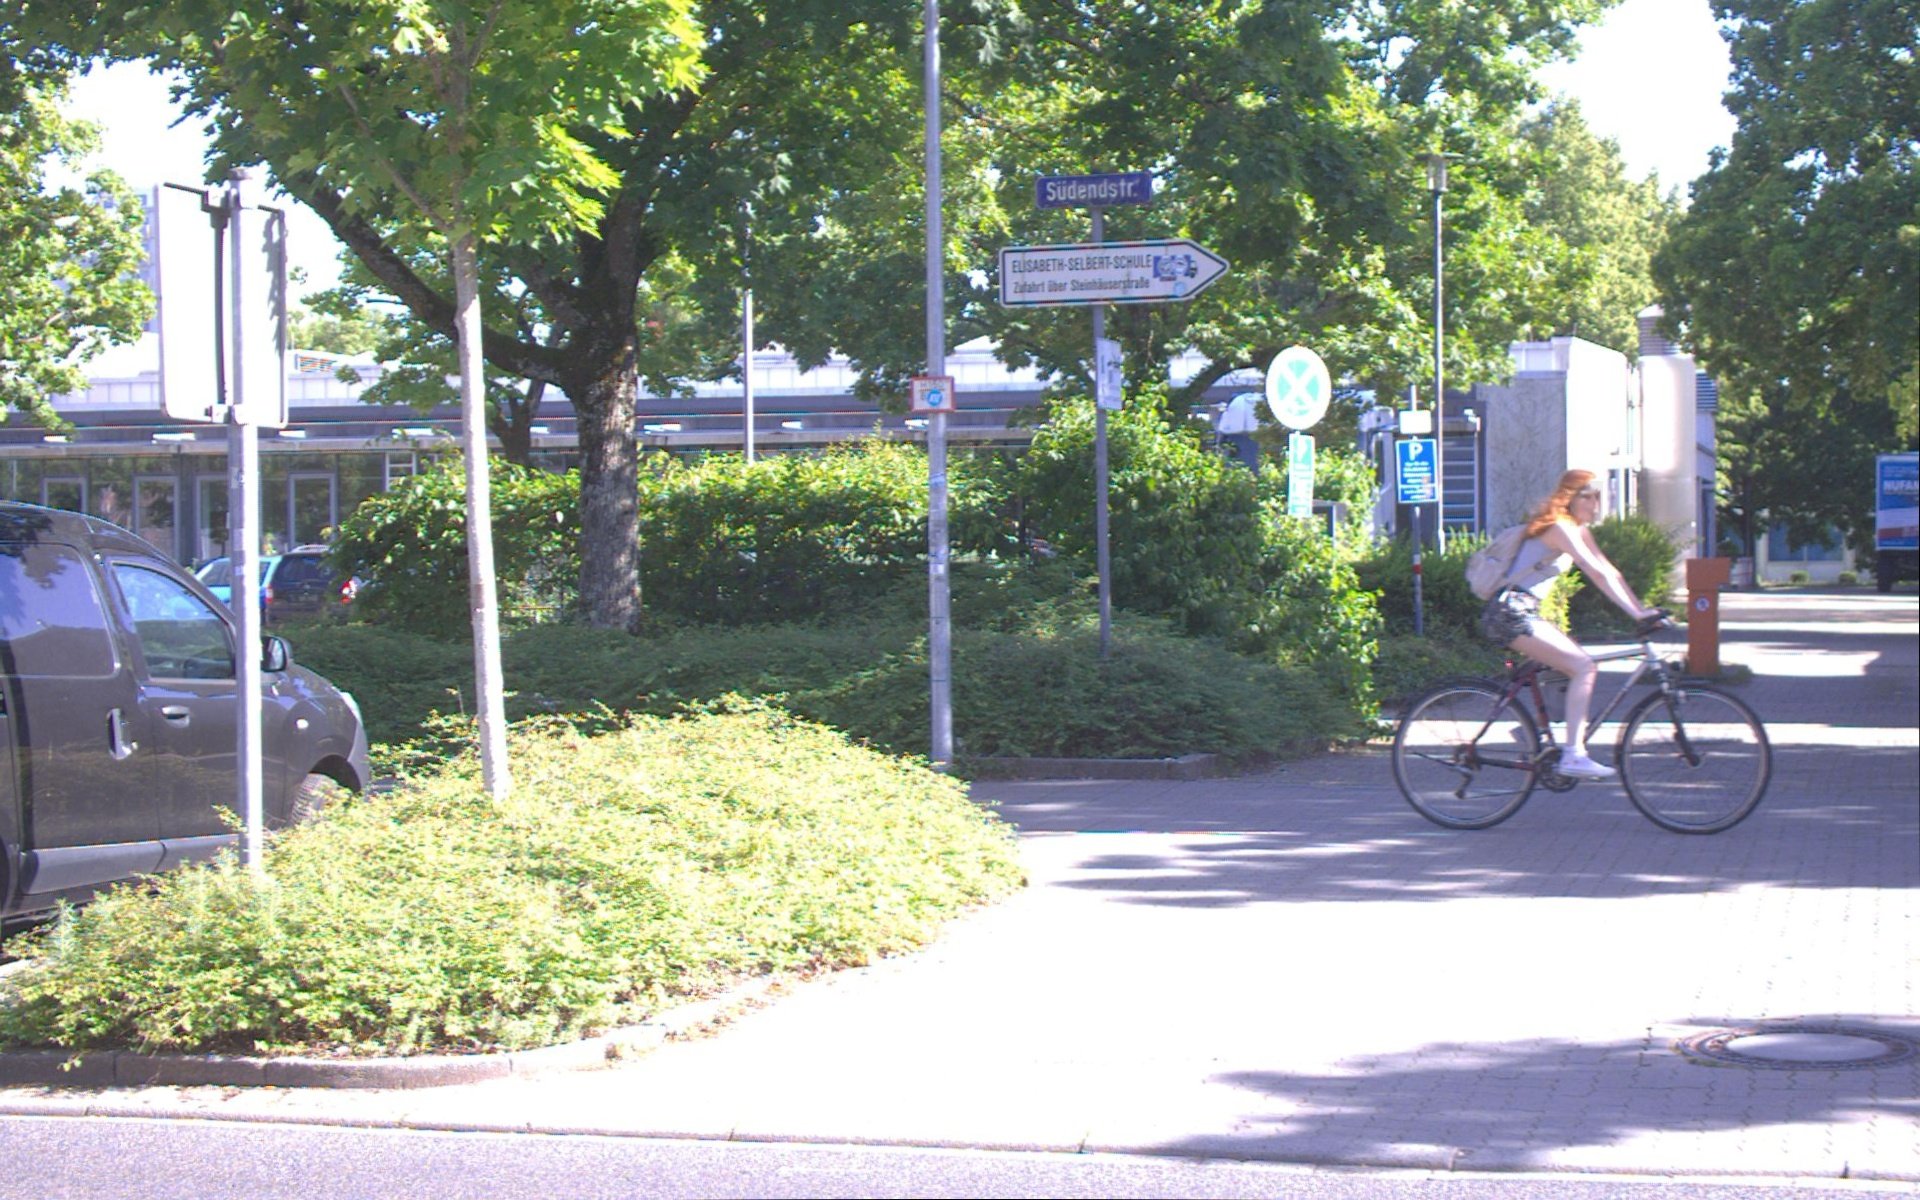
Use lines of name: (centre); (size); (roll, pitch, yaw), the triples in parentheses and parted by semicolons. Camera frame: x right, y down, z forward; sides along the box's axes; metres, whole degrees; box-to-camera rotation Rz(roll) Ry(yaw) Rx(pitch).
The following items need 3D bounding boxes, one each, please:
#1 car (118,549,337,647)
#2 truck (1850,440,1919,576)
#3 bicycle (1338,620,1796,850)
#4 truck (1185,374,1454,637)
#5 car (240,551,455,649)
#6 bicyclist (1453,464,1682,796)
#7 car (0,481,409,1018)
car: (-12.041, -0.055, 56.735); (1.838, 1.492, 3.904); (0, 2, 18)
truck: (28.120, -2.736, 102.519); (2.762, 3.856, 9.323); (1, 2, 16)
bicycle: (2.863, 0.619, 16.207); (2.083, 0.992, 0.596); (1, 1, 14)
truck: (5.694, -1.465, 53.431); (2.805, 3.793, 6.919); (1, 2, 17)
car: (-9.973, -0.021, 56.251); (1.838, 1.492, 3.904); (0, 2, 18)
bicyclist: (2.866, 0.127, 16.198); (1.012, 1.518, 0.596); (1, 1, 13)
car: (-3.921, 0.489, 13.482); (1.875, 1.840, 4.166); (0, 2, 16)
